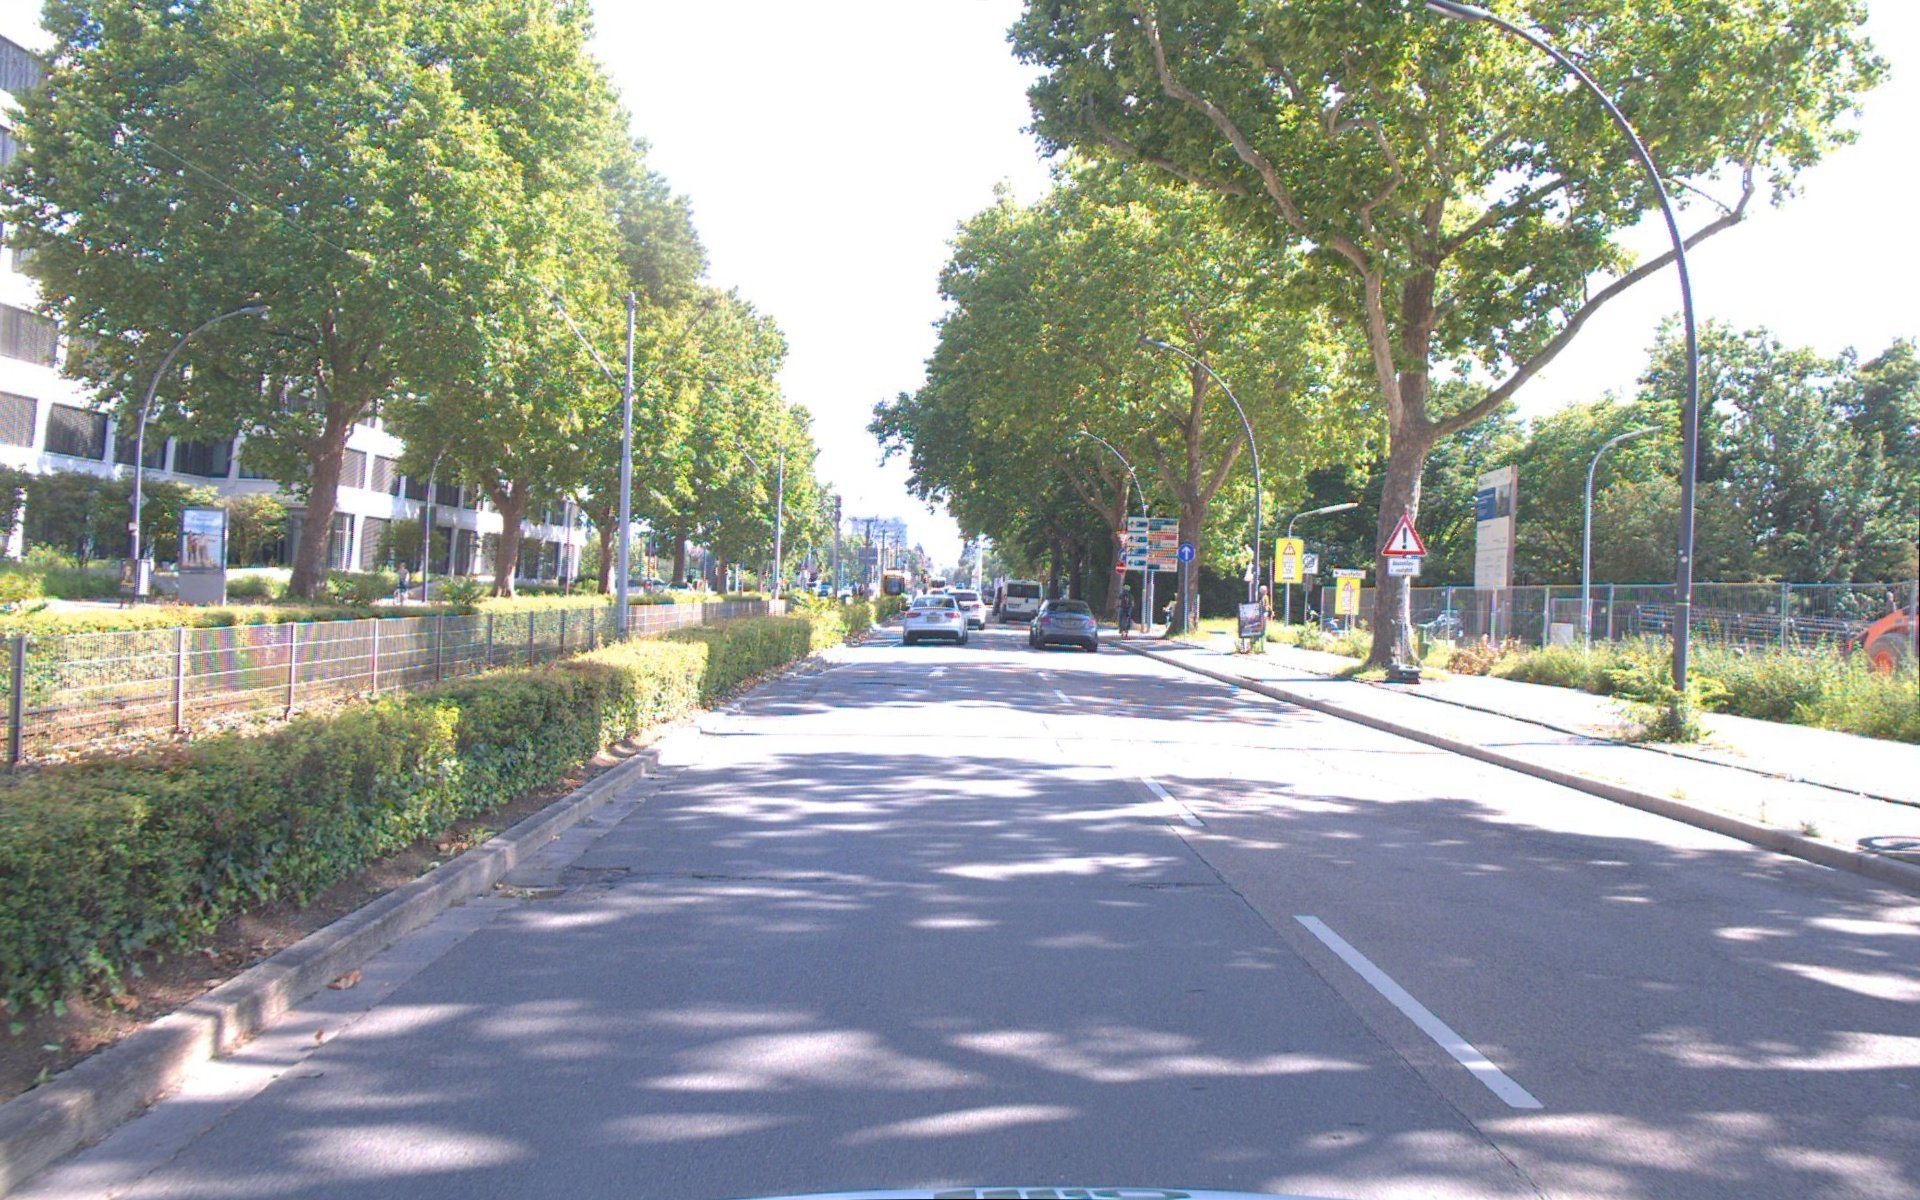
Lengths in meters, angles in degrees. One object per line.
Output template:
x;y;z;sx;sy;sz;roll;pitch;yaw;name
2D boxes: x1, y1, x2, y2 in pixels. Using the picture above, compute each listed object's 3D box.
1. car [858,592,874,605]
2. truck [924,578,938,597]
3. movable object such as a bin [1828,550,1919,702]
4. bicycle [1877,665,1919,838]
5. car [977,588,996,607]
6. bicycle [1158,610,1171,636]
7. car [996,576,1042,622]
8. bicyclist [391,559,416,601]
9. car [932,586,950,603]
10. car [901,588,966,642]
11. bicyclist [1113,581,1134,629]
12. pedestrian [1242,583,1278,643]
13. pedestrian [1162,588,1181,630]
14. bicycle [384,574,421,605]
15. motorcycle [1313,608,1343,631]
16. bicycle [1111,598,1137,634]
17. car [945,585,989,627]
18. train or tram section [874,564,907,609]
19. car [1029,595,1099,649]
-13.190;-0.182;232.915;1.953;1.764;4.000;2;0;1;car
-4.595;-1.976;262.571;1.952;2.839;8.519;2;0;1;truck
21.018;0.584;34.517;2.322;3.125;5.982;2;0;-3;movable object such as a bin
6.806;1.037;10.712;0.638;1.149;1.945;1;0;-1;bicycle
2.986;-0.304;184.964;2.029;2.034;4.058;2;0;0;car
8.844;0.977;71.570;0.342;1.100;1.699;2;0;0;bicycle
3.044;-0.035;86.517;2.184;2.250;4.162;2;0;0;car
-20.904;-0.743;62.148;0.641;1.561;0.641;2;0;0;bicyclist
-1.846;-0.538;163.905;1.694;1.659;4.000;2;0;0;car
-0.744;0.414;48.187;1.748;1.445;3.885;2;0;0;car
5.818;0.165;58.909;0.621;1.676;0.979;0;2;-1;bicyclist
9.824;0.424;54.149;0.919;1.925;1.151;2;0;0;pedestrian
9.180;0.391;71.771;0.619;1.816;0.874;2;0;0;pedestrian
-20.931;-0.388;62.106;0.650;1.144;2.031;2;0;0;bicycle
16.525;0.887;74.306;1.196;0.984;0.470;2;0;-7;motorcycle
5.837;0.570;58.901;0.700;1.168;2.178;0;2;-1;bicycle
0.302;0.232;67.822;1.694;1.633;3.885;2;0;0;car
-6.568;-1.295;157.630;2.563;4.085;7.749;2;0;1;train or tram section
2.985;0.612;48.133;1.746;1.445;4.000;2;0;0;car
